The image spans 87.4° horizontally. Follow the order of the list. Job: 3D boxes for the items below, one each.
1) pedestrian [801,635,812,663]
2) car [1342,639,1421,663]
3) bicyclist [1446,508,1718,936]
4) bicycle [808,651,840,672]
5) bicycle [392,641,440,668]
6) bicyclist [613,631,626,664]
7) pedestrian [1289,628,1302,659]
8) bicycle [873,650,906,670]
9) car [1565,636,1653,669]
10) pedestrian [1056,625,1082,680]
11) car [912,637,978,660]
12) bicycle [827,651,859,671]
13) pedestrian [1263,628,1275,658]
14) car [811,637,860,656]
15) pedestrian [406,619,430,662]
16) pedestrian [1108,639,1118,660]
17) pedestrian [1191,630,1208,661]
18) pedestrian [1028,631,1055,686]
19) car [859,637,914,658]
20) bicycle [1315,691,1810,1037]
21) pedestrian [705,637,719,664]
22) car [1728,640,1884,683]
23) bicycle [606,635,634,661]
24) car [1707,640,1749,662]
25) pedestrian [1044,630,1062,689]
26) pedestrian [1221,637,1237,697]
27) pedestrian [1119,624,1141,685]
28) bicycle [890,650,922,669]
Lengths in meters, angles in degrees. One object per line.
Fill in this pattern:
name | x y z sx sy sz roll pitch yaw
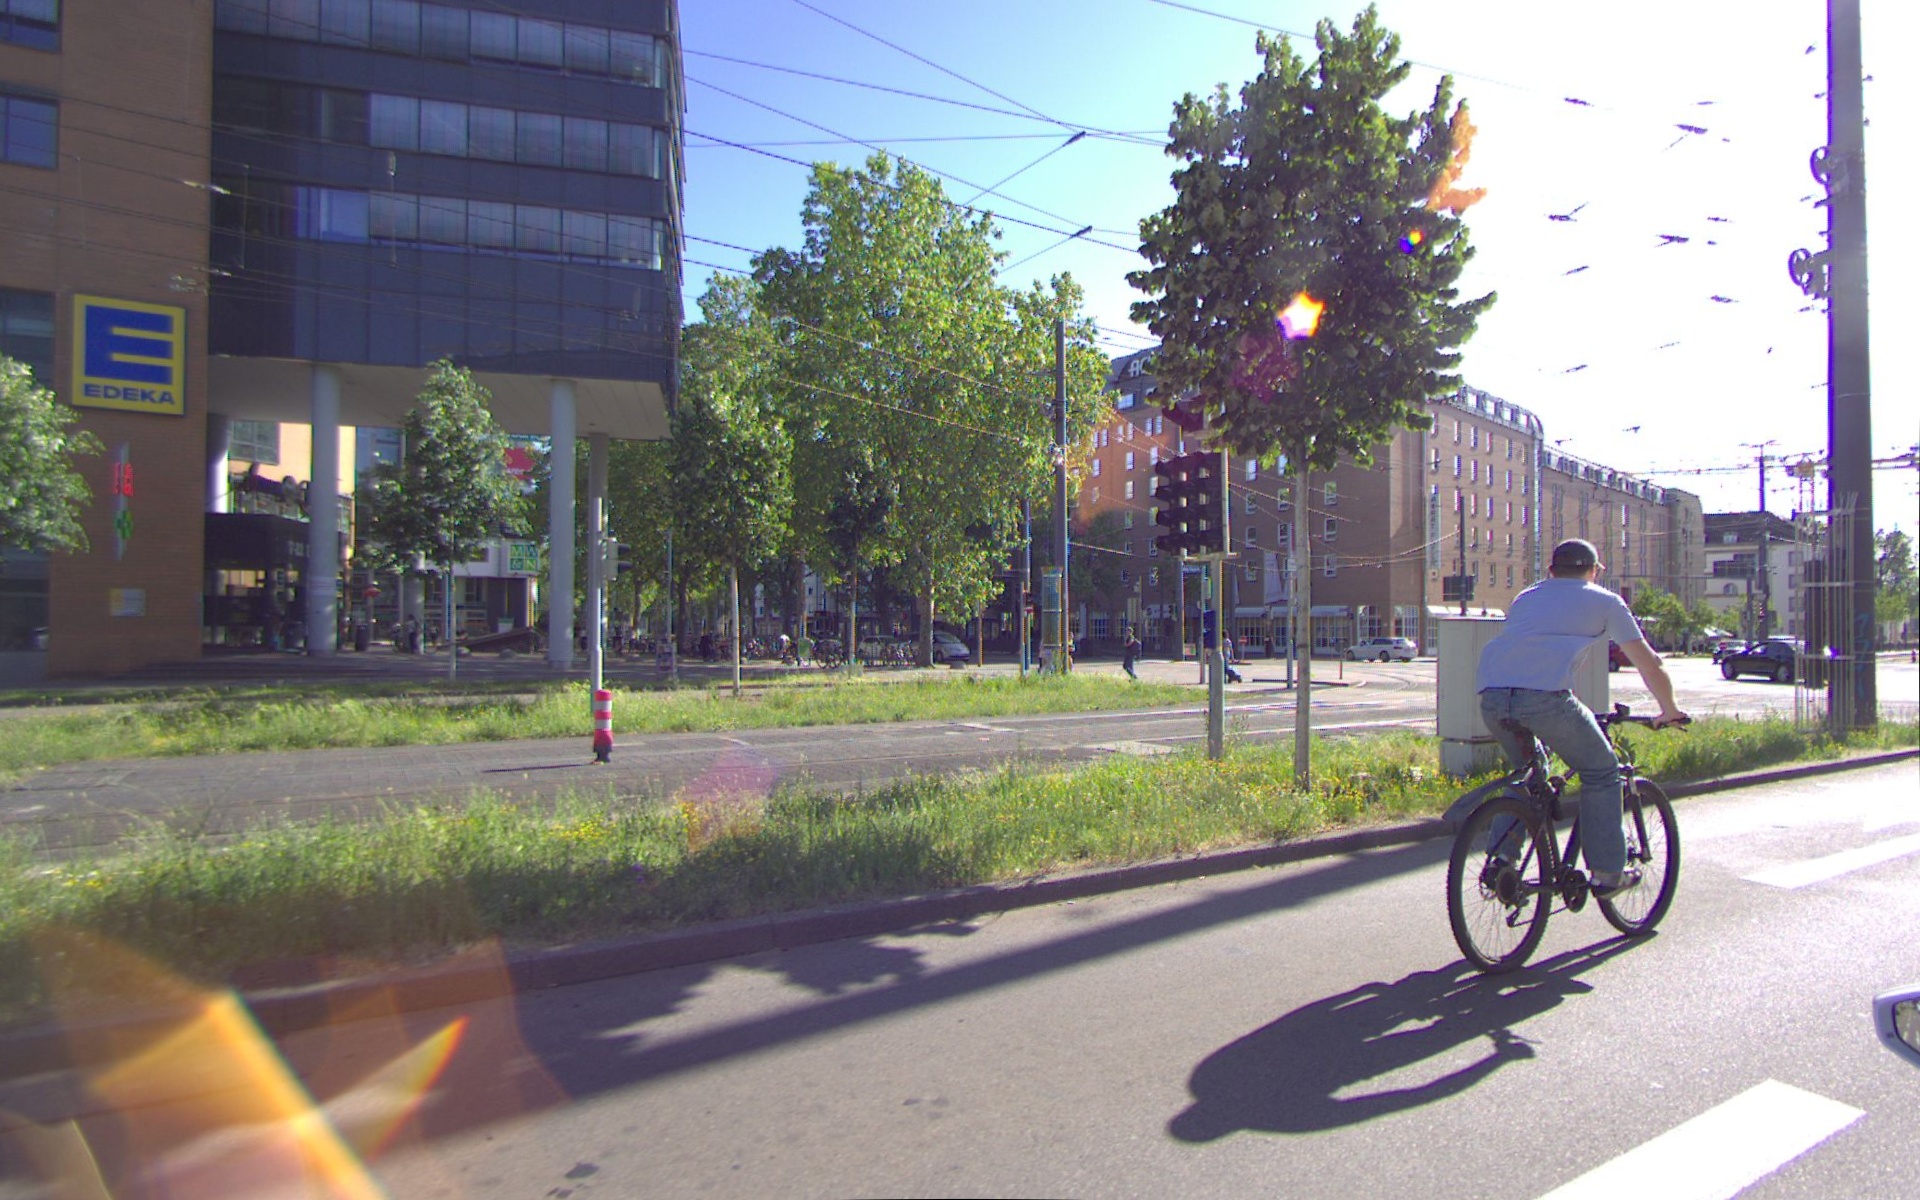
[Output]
pedestrian | -8.124 2.607 53.139 0.491 1.471 0.648 0 -2 -3
car | 25.761 3.122 61.564 2.035 1.399 4.394 1 -2 -19
bicyclist | 2.776 0.491 4.487 1.007 1.692 0.615 1 0 -30
bicycle | -5.682 2.551 41.916 0.372 0.809 2.008 2 -2 -38
bicycle | -23.239 2.315 42.954 1.783 1.149 0.490 1 -2 -31
bicyclist | -18.204 2.555 53.742 0.462 1.744 0.479 2 -2 -44
pedestrian | 21.674 2.795 64.908 0.746 1.957 0.518 2 -2 -43
bicycle | -3.123 2.642 44.387 0.372 0.809 2.008 2 -2 -38
car | 30.154 2.438 46.782 1.627 1.468 3.584 0 -2 -4
pedestrian | 3.769 1.811 34.666 0.615 1.855 0.760 1 -2 -21
car | -0.865 2.677 56.089 1.977 1.247 3.968 1 -2 -30
bicycle | -5.018 2.598 43.068 0.372 0.809 2.008 2 -2 -38
pedestrian | 20.166 2.806 65.497 0.520 1.957 0.523 1 -2 -16
car | -8.260 3.073 66.418 1.761 1.158 3.968 1 -2 -30
pedestrian | -21.311 1.593 39.507 0.779 1.645 0.504 3 -2 -30
pedestrian | 14.498 4.688 95.011 0.826 1.957 0.554 2 -2 -39
pedestrian | 15.264 2.922 64.093 0.899 1.957 0.695 2 -2 -43
pedestrian | 2.800 2.004 34.502 0.616 1.855 0.759 1 -2 -24
car | -4.498 2.860 60.798 1.761 1.158 3.968 1 -2 -30
bicycle | 2.782 1.012 4.488 2.665 1.084 0.683 1 0 -30
pedestrian | -12.407 2.523 50.303 0.543 1.310 0.425 2 -2 -39
car | 30.691 2.198 36.652 1.699 1.468 4.519 0 -2 -4
bicycle | -18.190 2.550 53.737 0.462 1.370 2.342 2 -2 -43
car | 54.017 3.583 70.621 3.891 1.416 1.595 1 -6 -43
pedestrian | 2.960 1.896 31.977 0.452 1.855 0.458 0 -2 22
pedestrian | 8.487 2.110 31.713 0.379 1.855 0.463 -1 -2 29
pedestrian | 5.261 1.682 31.045 0.571 1.855 0.498 0 -2 22
bicycle | -2.471 2.680 45.567 0.372 0.809 2.008 2 -2 -38
